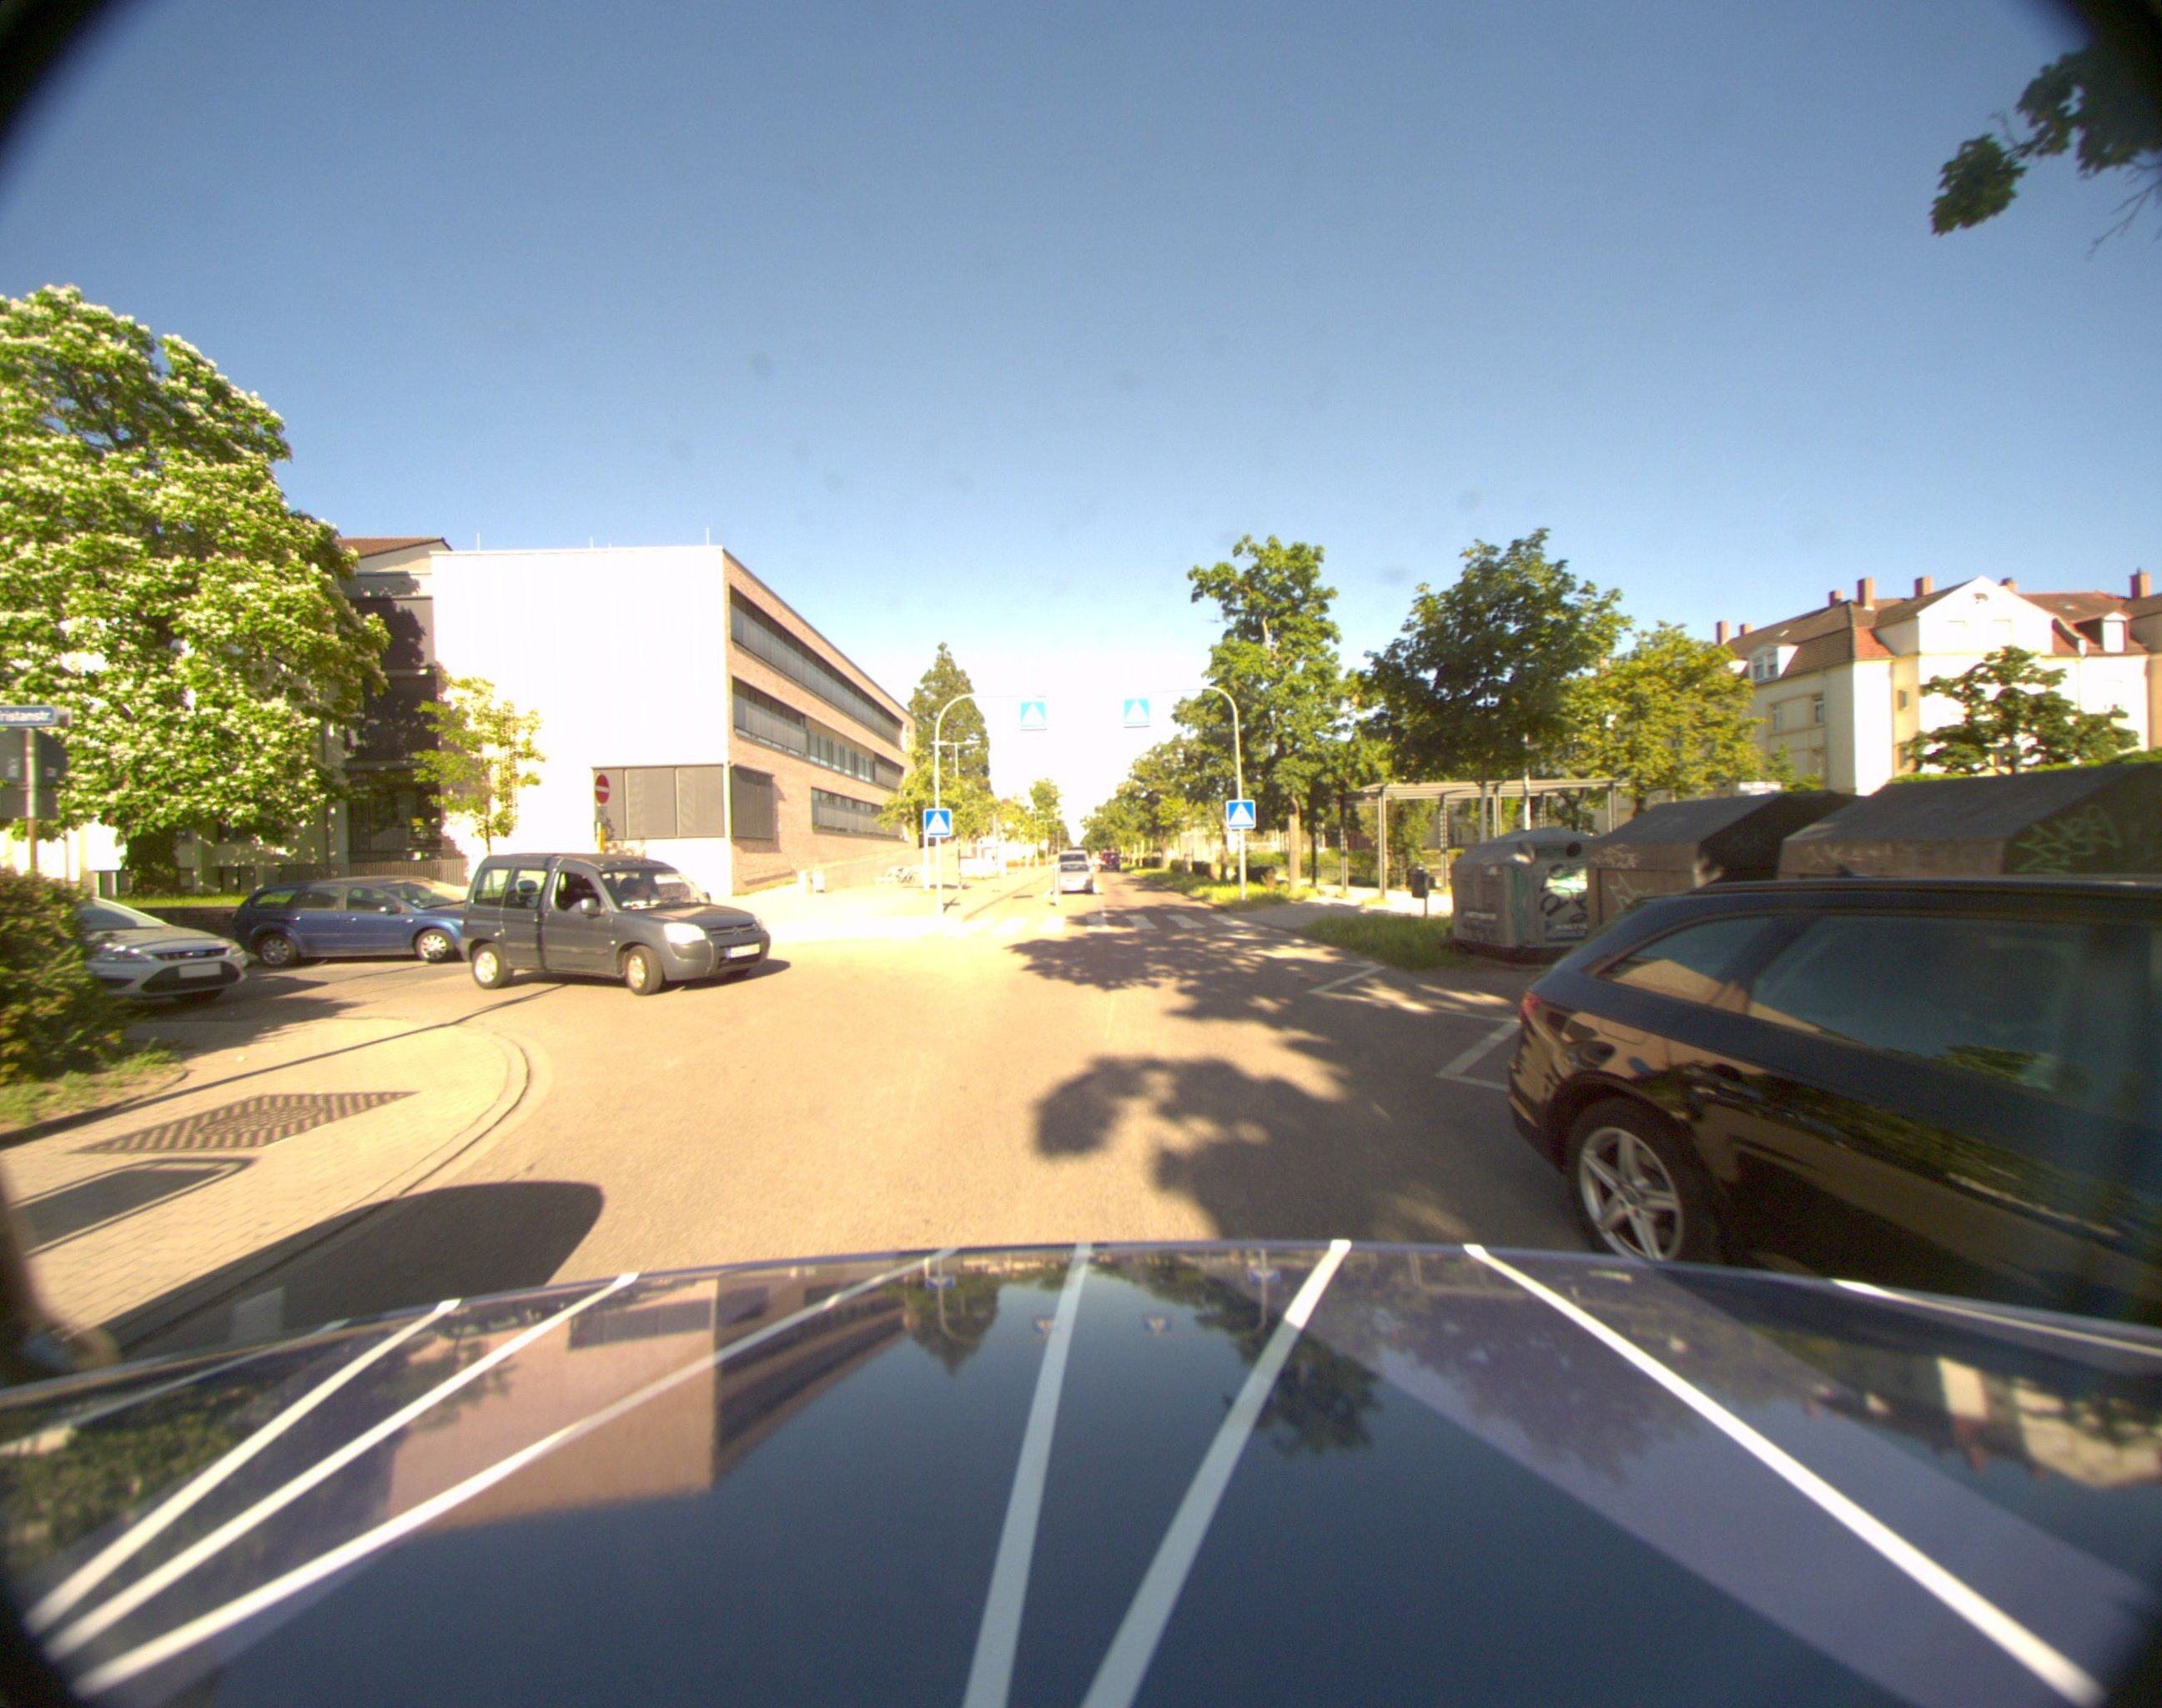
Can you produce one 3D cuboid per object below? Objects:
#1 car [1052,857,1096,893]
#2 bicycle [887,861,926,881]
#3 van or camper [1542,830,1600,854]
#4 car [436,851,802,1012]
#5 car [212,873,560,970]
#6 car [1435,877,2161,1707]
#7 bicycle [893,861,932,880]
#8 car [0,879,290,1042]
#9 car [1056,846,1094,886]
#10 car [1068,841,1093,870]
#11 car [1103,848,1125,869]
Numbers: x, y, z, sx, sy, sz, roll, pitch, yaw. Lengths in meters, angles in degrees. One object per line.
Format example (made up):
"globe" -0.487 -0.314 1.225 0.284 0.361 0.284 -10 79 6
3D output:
"car" -0.220 0.843 32.202 1.652 1.324 4.934 -2 0 2
"bicycle" -9.974 0.984 43.559 2.030 1.057 0.882 1 1 -1
"van or camper" 42.746 -1.046 66.427 2.273 2.002 4.373 -2 1 1
"car" -6.101 0.922 10.118 4.148 1.779 1.906 -2 1 20
"car" -12.674 1.193 14.123 4.558 1.466 1.906 -2 1 -2
"car" 2.713 0.875 1.214 1.840 1.444 4.967 -1 1 -2
"bicycle" -9.924 0.986 44.848 2.084 1.058 0.860 1 1 1
"car" -12.559 1.196 8.895 4.419 1.614 1.914 -2 1 -2
"car" -0.251 0.580 39.426 1.788 1.899 4.627 -2 0 2
"car" -0.007 0.101 72.884 2.074 2.583 6.202 -2 0 2
"car" 3.144 0.415 73.473 2.021 1.867 4.740 -2 0 2
